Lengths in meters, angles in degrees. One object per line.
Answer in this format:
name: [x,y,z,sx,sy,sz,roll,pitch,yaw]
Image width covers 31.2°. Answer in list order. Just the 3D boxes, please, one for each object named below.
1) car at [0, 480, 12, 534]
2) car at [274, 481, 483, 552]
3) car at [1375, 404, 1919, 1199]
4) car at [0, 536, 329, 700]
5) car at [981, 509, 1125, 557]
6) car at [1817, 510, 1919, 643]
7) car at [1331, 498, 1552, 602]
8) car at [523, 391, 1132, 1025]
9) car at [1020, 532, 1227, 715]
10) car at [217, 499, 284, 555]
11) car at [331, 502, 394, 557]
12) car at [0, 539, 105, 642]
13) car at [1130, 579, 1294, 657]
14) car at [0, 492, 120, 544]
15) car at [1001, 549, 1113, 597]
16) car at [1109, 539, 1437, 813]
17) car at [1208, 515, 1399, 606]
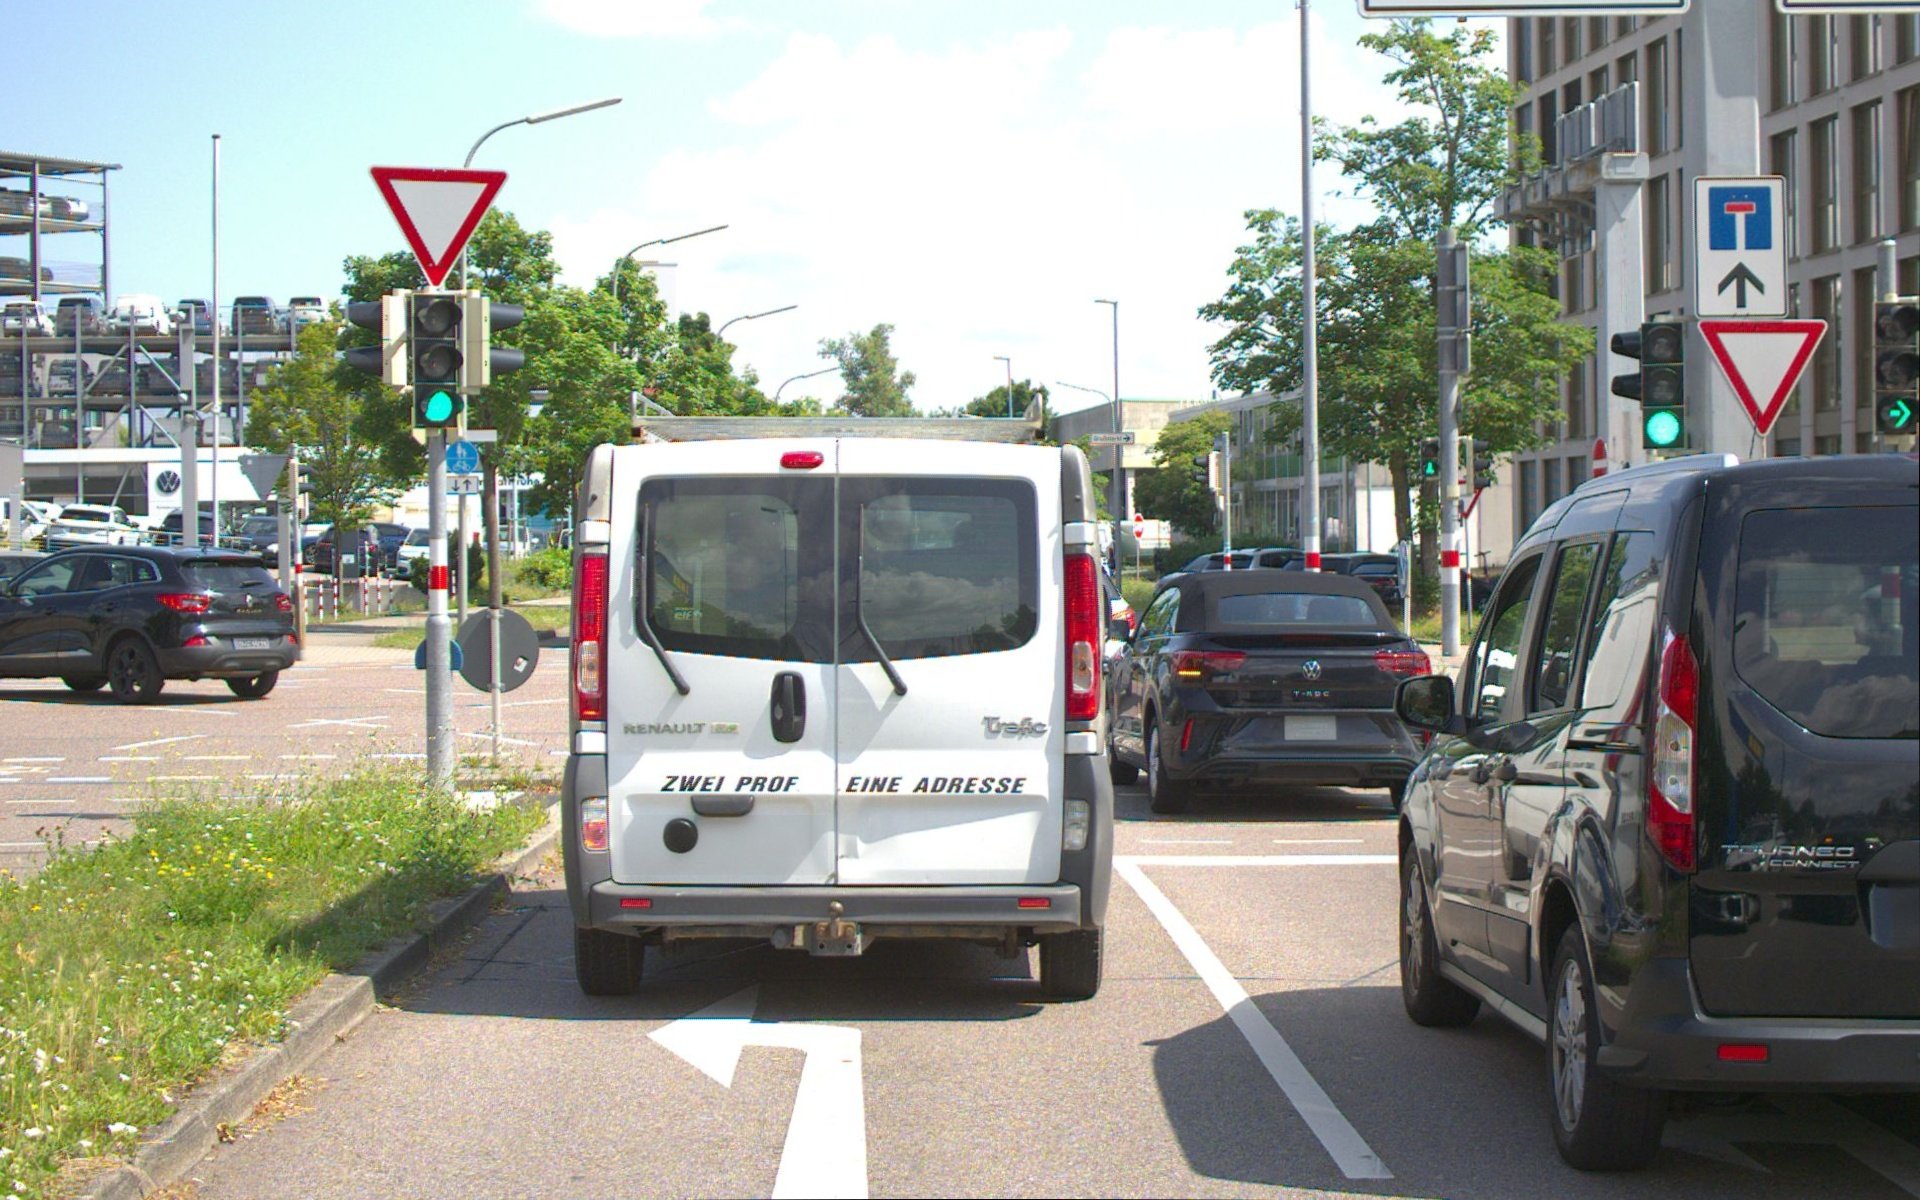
car: [-30.137,-2.780,101.614,3.986,1.547,1.765,1,0,-12]
car: [-18.382,-2.647,108.942,6.386,2.095,1.765,1,0,-5]
car: [2.345,0.490,9.870,1.823,1.898,4.000,0,0,0]
car: [-8.805,0.167,35.891,4.262,1.612,1.774,1,0,32]
car: [4.205,-3.027,156.029,6.340,2.007,2.573,1,0,-3]
car: [14.946,-0.291,48.824,4.975,1.831,2.000,1,0,-8]
car: [9.694,-0.988,69.418,3.986,2.007,2.000,1,0,-9]
car: [-0.471,0.335,13.468,1.973,2.053,4.565,0,0,-1]
car: [1.493,0.191,32.597,1.774,1.624,4.000,0,0,0]
car: [-21.017,-2.142,101.957,1.560,1.547,3.603,1,0,-6]
car: [-17.611,-2.070,101.402,1.560,1.547,3.603,1,0,-6]
car: [-16.790,-0.183,57.454,4.574,1.672,1.907,1,0,-4]
car: [6.687,0.482,91.546,3.986,2.007,2.000,1,0,-9]
car: [-28.691,-2.584,108.922,3.986,1.547,1.765,1,0,-12]
car: [3.679,-1.034,130.881,3.986,1.744,2.000,1,0,-6]
car: [1.953,0.440,22.513,1.774,1.624,4.000,0,0,0]
car: [7.928,-0.892,79.466,3.986,2.007,2.000,1,0,-9]
